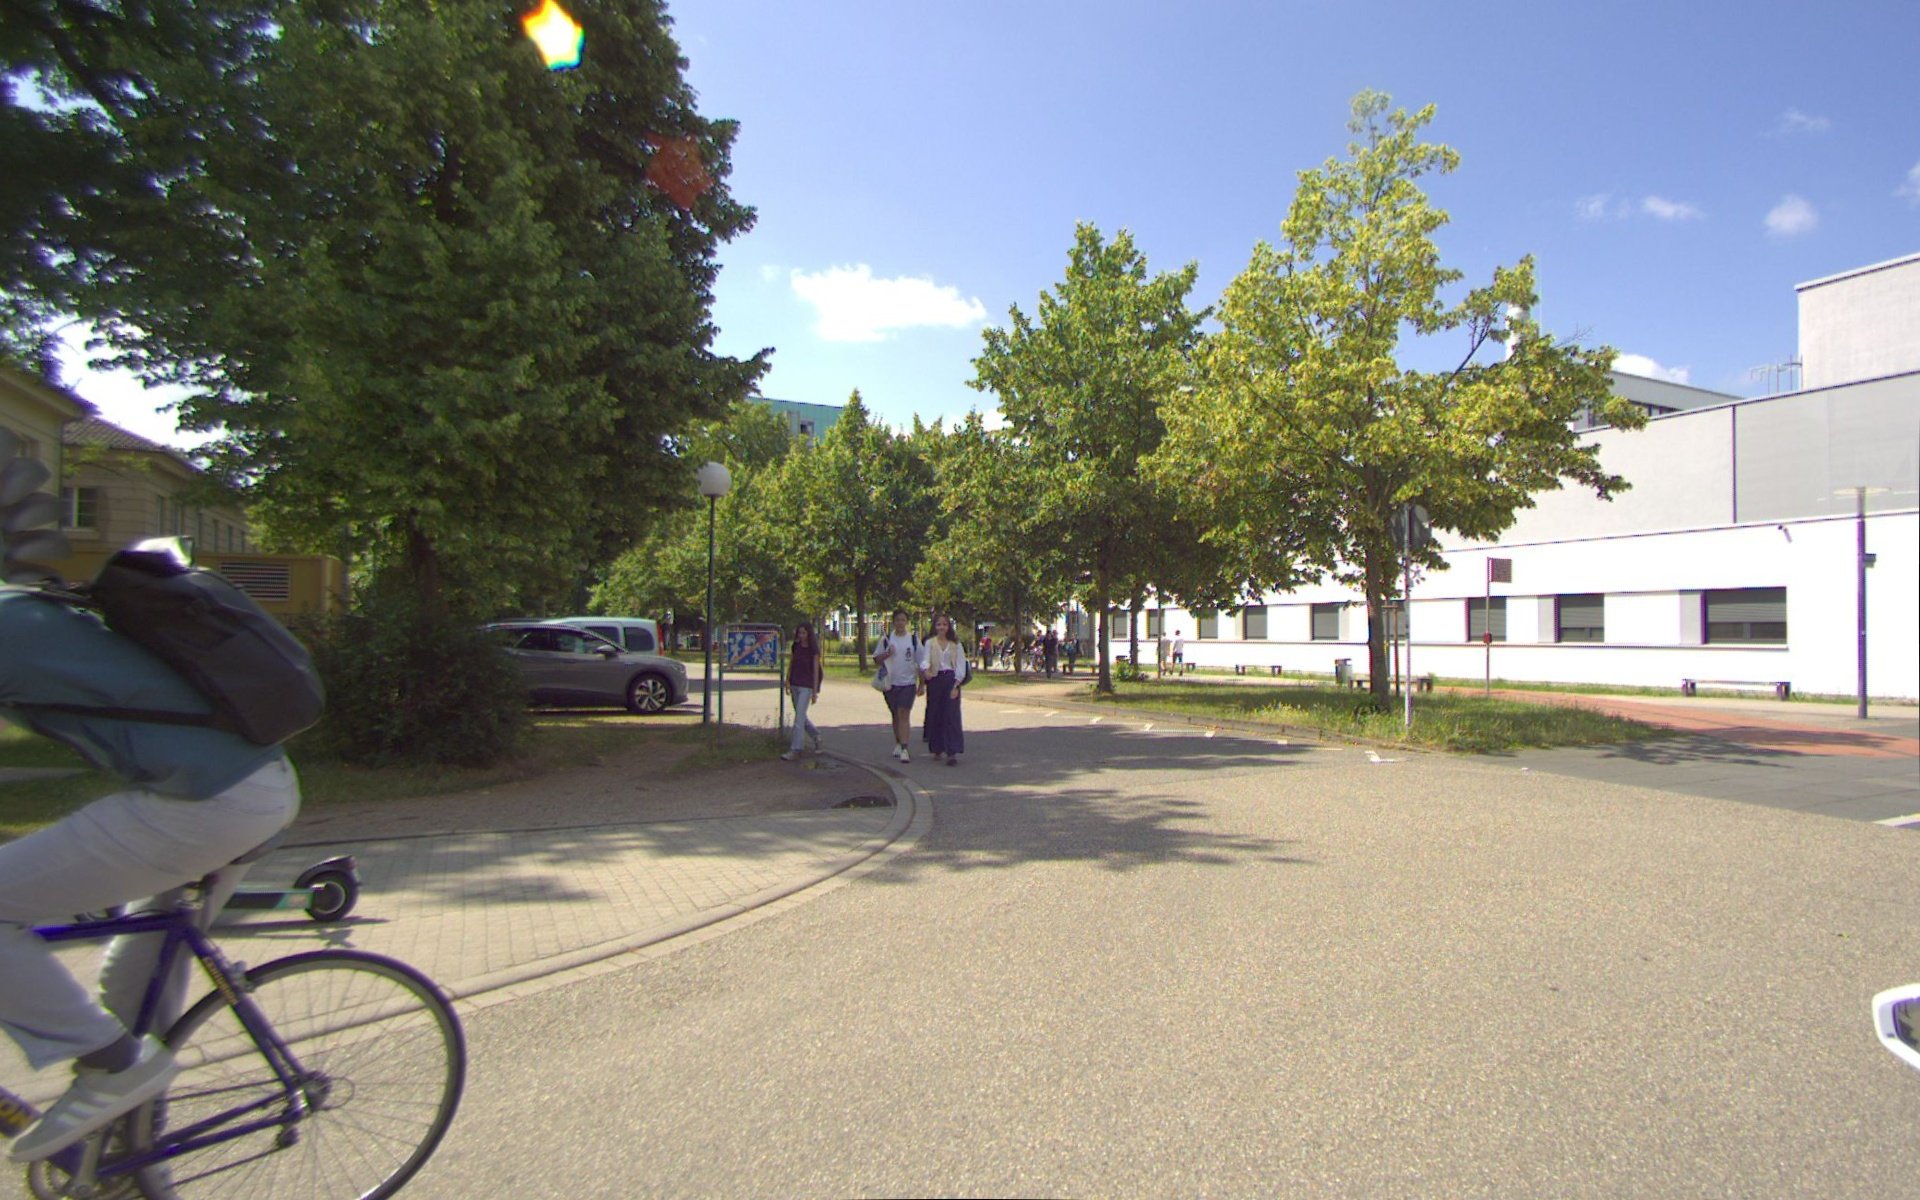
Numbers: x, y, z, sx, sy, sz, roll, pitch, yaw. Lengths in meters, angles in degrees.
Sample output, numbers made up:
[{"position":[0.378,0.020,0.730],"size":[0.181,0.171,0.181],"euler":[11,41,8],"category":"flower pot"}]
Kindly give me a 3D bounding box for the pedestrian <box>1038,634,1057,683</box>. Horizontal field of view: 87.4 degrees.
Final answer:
[{"position":[3.283,2.181,37.444],"size":[0.623,1.810,0.873],"euler":[-1,-2,10],"category":"pedestrian"}]

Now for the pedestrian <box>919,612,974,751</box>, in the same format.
[{"position":[-0.192,1.083,13.604],"size":[0.559,1.810,0.870],"euler":[0,-2,-15],"category":"pedestrian"}]

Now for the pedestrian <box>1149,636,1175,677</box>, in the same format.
[{"position":[7.942,2.195,39.466],"size":[0.747,1.583,0.727],"euler":[1,-2,-23],"category":"pedestrian"}]

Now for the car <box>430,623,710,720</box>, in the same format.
[{"position":[-7.158,1.316,18.590],"size":[4.591,1.601,1.887],"euler":[3,-3,-27],"category":"car"}]

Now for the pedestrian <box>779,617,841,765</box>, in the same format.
[{"position":[-1.826,1.087,12.364],"size":[0.546,1.739,0.973],"euler":[0,-2,3],"category":"pedestrian"}]

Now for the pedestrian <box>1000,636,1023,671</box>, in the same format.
[{"position":[2.447,2.531,47.647],"size":[0.843,1.602,0.744],"euler":[-2,-3,44],"category":"pedestrian"}]

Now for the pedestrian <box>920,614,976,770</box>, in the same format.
[{"position":[-0.156,1.041,11.740],"size":[0.609,1.739,1.005],"euler":[0,-2,-3],"category":"pedestrian"}]

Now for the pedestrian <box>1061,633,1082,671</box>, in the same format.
[{"position":[5.110,2.373,45.897],"size":[0.786,1.675,0.730],"euler":[1,-1,-10],"category":"pedestrian"}]

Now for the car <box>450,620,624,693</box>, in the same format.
[{"position":[-12.202,1.659,29.175],"size":[4.464,1.985,1.803],"euler":[3,-3,-24],"category":"car"}]

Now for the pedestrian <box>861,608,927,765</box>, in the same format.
[{"position":[-0.782,1.019,12.092],"size":[0.712,1.810,0.901],"euler":[0,-2,0],"category":"pedestrian"}]

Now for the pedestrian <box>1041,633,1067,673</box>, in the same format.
[{"position":[4.133,2.317,44.108],"size":[0.741,1.720,0.880],"euler":[1,-2,-30],"category":"pedestrian"}]

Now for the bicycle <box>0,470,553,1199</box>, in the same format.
[{"position":[-1.833,0.626,2.084],"size":[1.740,1.702,0.583],"euler":[2,-2,-33],"category":"bicycle"}]

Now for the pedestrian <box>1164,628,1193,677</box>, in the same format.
[{"position":[8.669,2.062,39.877],"size":[0.813,1.908,0.760],"euler":[1,-2,-23],"category":"pedestrian"}]

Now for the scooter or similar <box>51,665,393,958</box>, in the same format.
[{"position":[-3.407,0.933,4.744],"size":[1.187,1.232,0.469],"euler":[1,-2,-21],"category":"scooter or similar"}]

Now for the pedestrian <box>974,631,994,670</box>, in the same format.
[{"position":[1.165,2.472,49.391],"size":[0.840,1.916,0.667],"euler":[1,-1,-10],"category":"pedestrian"}]

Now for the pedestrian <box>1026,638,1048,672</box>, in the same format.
[{"position":[3.660,2.611,47.835],"size":[0.689,1.602,0.847],"euler":[2,-2,-34],"category":"pedestrian"}]

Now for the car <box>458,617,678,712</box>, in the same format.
[{"position":[-8.148,1.352,20.926],"size":[4.072,1.809,1.800],"euler":[3,-3,-27],"category":"car"}]

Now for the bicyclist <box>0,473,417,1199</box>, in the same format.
[{"position":[-1.852,0.514,2.078],"size":[1.220,1.472,0.583],"euler":[2,-2,-33],"category":"bicyclist"}]

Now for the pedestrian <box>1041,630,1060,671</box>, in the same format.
[{"position":[4.149,2.306,46.016],"size":[0.673,1.862,0.760],"euler":[1,-1,-10],"category":"pedestrian"}]
